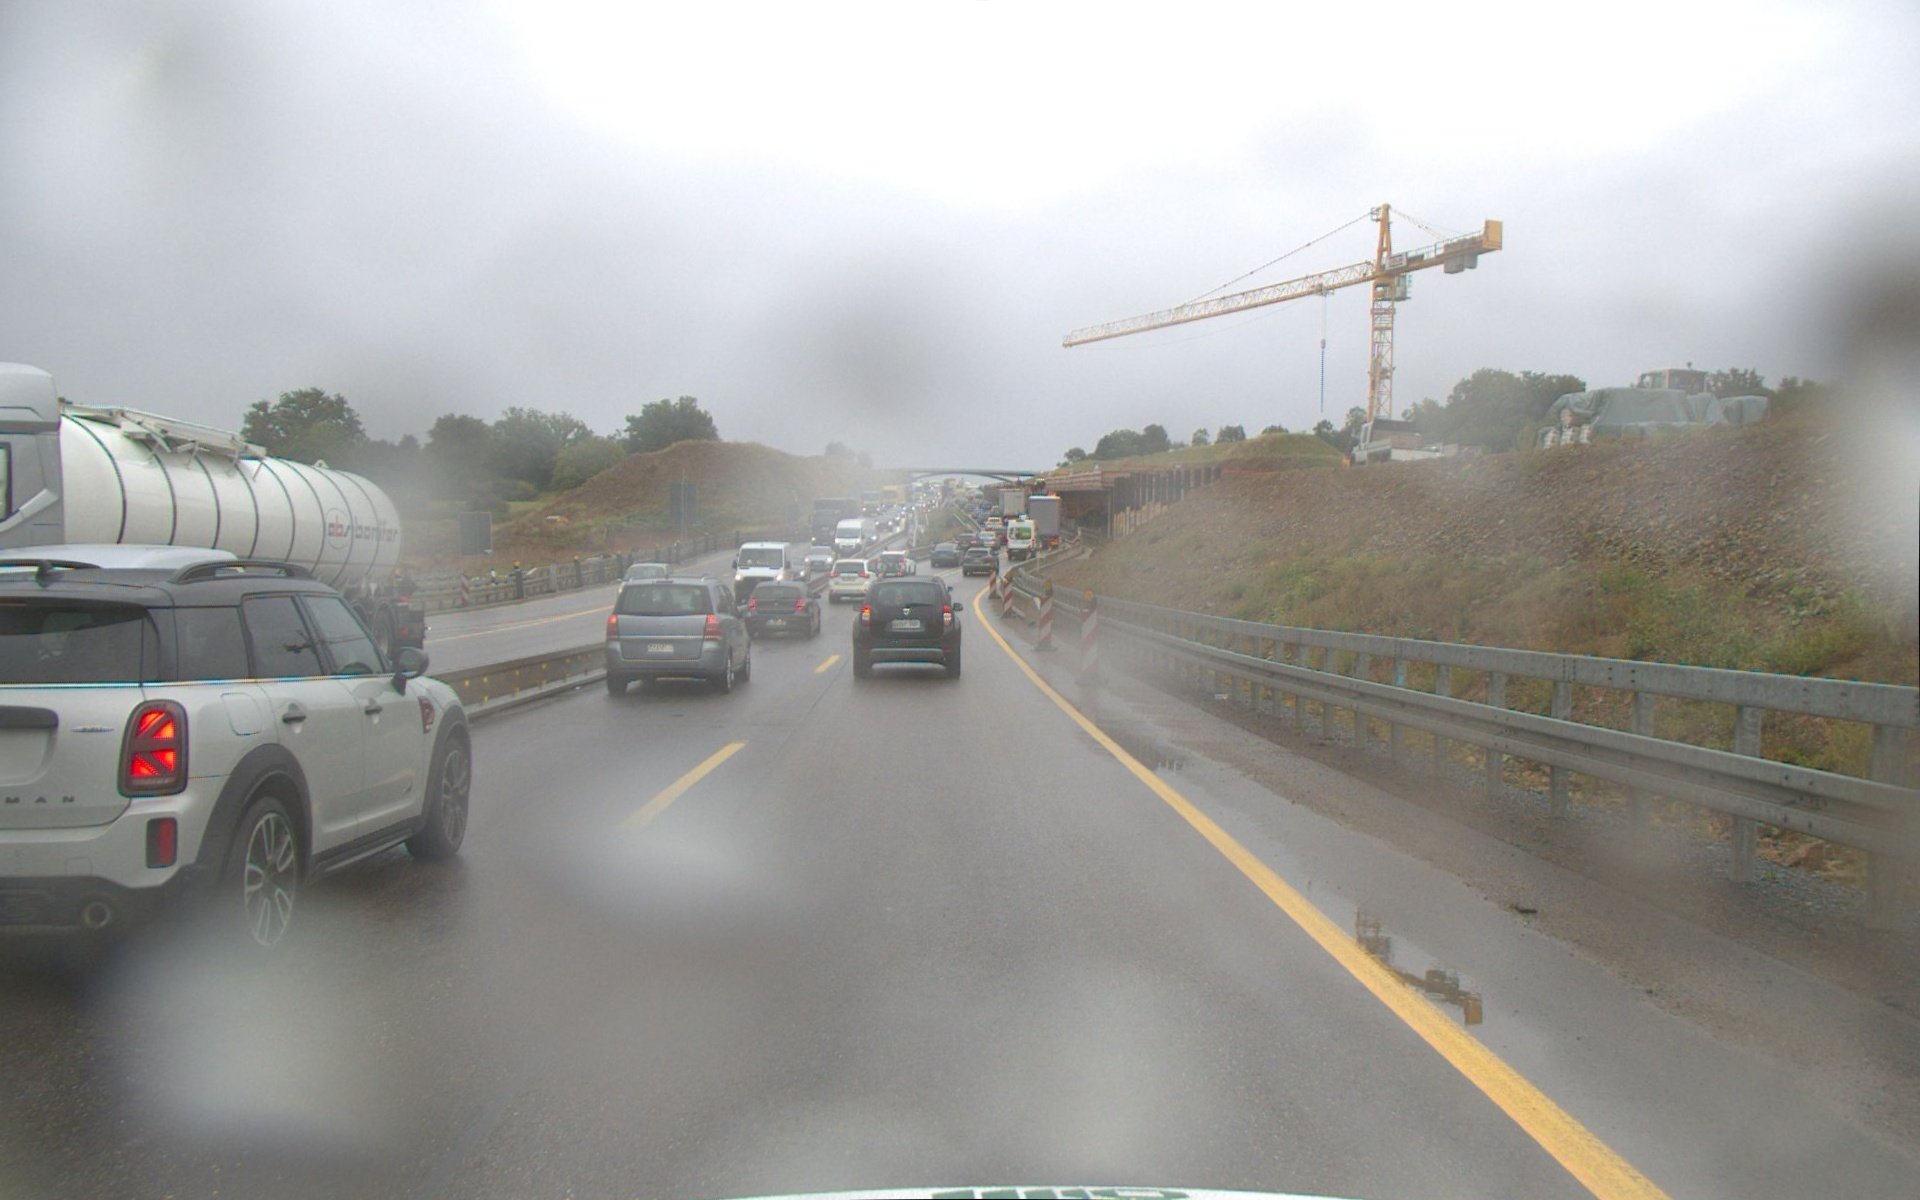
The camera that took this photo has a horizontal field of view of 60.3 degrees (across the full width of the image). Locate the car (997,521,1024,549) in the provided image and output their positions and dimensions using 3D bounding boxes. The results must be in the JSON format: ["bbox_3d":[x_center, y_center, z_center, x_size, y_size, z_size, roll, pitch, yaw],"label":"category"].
[{"bbox_3d":[4.351,-5.575,142.112,1.951,2.200,4.144,0,0,8],"label":"car"}]

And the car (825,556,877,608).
[{"bbox_3d":[-4.377,-0.698,66.823,1.953,2.049,3.892,0,0,-2],"label":"car"}]

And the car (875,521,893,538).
[{"bbox_3d":[-7.911,-7.403,173.225,1.702,1.713,5.552,1,2,-1],"label":"car"}]

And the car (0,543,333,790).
[{"bbox_3d":[-7.105,0.482,14.343,1.828,1.831,4.161,0,0,-2],"label":"car"}]

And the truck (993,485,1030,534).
[{"bbox_3d":[6.137,-10.765,198.373,3.727,5.131,12.917,0,0,-2],"label":"truck"}]

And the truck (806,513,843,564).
[{"bbox_3d":[-11.202,-5.153,137.483,2.588,4.039,9.212,0,2,-2],"label":"truck"}]

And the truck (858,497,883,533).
[{"bbox_3d":[-12.617,-11.936,233.425,3.020,5.004,8.565,1,2,0],"label":"truck"}]

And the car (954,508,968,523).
[{"bbox_3d":[0.108,-12.790,251.083,1.953,2.049,3.999,0,0,-2],"label":"car"}]

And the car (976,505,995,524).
[{"bbox_3d":[2.905,-9.830,189.918,1.953,2.048,4.000,-1,2,-1],"label":"car"}]

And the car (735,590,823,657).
[{"bbox_3d":[-4.558,0.566,42.231,1.953,1.628,4.138,0,0,-2],"label":"car"}]

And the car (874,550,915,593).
[{"bbox_3d":[-3.492,-1.502,88.601,1.952,2.200,4.141,0,0,1],"label":"car"}]

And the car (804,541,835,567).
[{"bbox_3d":[-8.562,-2.790,101.267,1.643,1.550,4.344,0,1,-1],"label":"car"}]

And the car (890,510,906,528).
[{"bbox_3d":[-7.264,-9.482,193.587,1.749,1.841,4.498,0,0,-1],"label":"car"}]

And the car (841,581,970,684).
[{"bbox_3d":[-0.879,0.517,28.433,2.039,1.628,4.140,0,0,0],"label":"car"}]

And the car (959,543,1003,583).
[{"bbox_3d":[1.261,-2.120,96.106,1.951,2.200,4.144,0,0,9],"label":"car"}]

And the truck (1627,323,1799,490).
[{"bbox_3d":[22.419,-5.648,49.561,2.325,4.292,5.977,0,0,-2],"label":"truck"}]

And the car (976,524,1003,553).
[{"bbox_3d":[2.337,-4.866,131.620,1.952,2.200,4.142,0,0,4],"label":"car"}]

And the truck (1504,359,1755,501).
[{"bbox_3d":[17.865,-4.435,44.979,3.325,2.925,8.960,0,0,1],"label":"truck"}]

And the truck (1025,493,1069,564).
[{"bbox_3d":[7.305,-5.825,137.176,3.035,5.521,9.450,0,0,7],"label":"truck"}]

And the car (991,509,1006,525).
[{"bbox_3d":[5.468,-11.672,233.416,1.953,2.049,3.999,0,0,-2],"label":"car"}]

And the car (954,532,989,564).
[{"bbox_3d":[0.861,-3.765,120.109,1.951,2.200,4.144,0,0,8],"label":"car"}]

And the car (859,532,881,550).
[{"bbox_3d":[-7.636,-4.998,140.794,1.831,1.496,4.670,0,2,-2],"label":"car"}]

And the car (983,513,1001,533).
[{"bbox_3d":[3.359,-8.122,174.383,1.811,1.927,4.021,0,0,0],"label":"car"}]

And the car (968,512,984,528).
[{"bbox_3d":[2.089,-10.332,213.424,1.953,2.048,4.000,-1,2,-1],"label":"car"}]

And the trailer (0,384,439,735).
[{"bbox_3d":[-10.465,-0.460,23.617,2.567,3.742,12.000,0,0,-2],"label":"trailer"}]

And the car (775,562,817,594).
[{"bbox_3d":[-8.154,-1.107,82.402,1.750,1.565,4.311,0,1,-1],"label":"car"}]

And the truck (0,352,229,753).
[{"bbox_3d":[-10.297,-0.459,17.254,2.567,3.742,6.593,0,0,-2],"label":"truck"}]

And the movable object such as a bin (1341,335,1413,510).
[{"bbox_3d":[28.944,-12.064,115.100,4.618,11.031,10.312,0,0,13],"label":"movable object such as a bin"}]

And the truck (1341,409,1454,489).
[{"bbox_3d":[17.753,-6.079,67.581,2.592,2.599,6.982,0,0,-2],"label":"truck"}]

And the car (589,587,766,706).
[{"bbox_3d":[-4.108,0.631,24.728,1.953,1.628,4.140,0,0,0],"label":"car"}]

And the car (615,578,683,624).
[{"bbox_3d":[-10.983,0.013,58.701,1.751,1.573,3.999,0,1,-2],"label":"car"}]

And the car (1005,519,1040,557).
[{"bbox_3d":[4.477,-4.354,117.778,1.951,2.527,4.986,0,0,8],"label":"car"}]

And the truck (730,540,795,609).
[{"bbox_3d":[-7.824,-0.973,66.103,2.036,2.621,5.960,0,0,-2],"label":"truck"}]

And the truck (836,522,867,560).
[{"bbox_3d":[-8.120,-4.430,124.105,2.104,2.760,6.015,0,2,-2],"label":"truck"}]

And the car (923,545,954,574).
[{"bbox_3d":[-1.377,-2.635,107.756,1.953,1.792,3.814,0,0,0],"label":"car"}]

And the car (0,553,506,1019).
[{"bbox_3d":[-3.591,0.624,7.916,1.779,1.628,4.306,0,1,-2],"label":"car"}]
